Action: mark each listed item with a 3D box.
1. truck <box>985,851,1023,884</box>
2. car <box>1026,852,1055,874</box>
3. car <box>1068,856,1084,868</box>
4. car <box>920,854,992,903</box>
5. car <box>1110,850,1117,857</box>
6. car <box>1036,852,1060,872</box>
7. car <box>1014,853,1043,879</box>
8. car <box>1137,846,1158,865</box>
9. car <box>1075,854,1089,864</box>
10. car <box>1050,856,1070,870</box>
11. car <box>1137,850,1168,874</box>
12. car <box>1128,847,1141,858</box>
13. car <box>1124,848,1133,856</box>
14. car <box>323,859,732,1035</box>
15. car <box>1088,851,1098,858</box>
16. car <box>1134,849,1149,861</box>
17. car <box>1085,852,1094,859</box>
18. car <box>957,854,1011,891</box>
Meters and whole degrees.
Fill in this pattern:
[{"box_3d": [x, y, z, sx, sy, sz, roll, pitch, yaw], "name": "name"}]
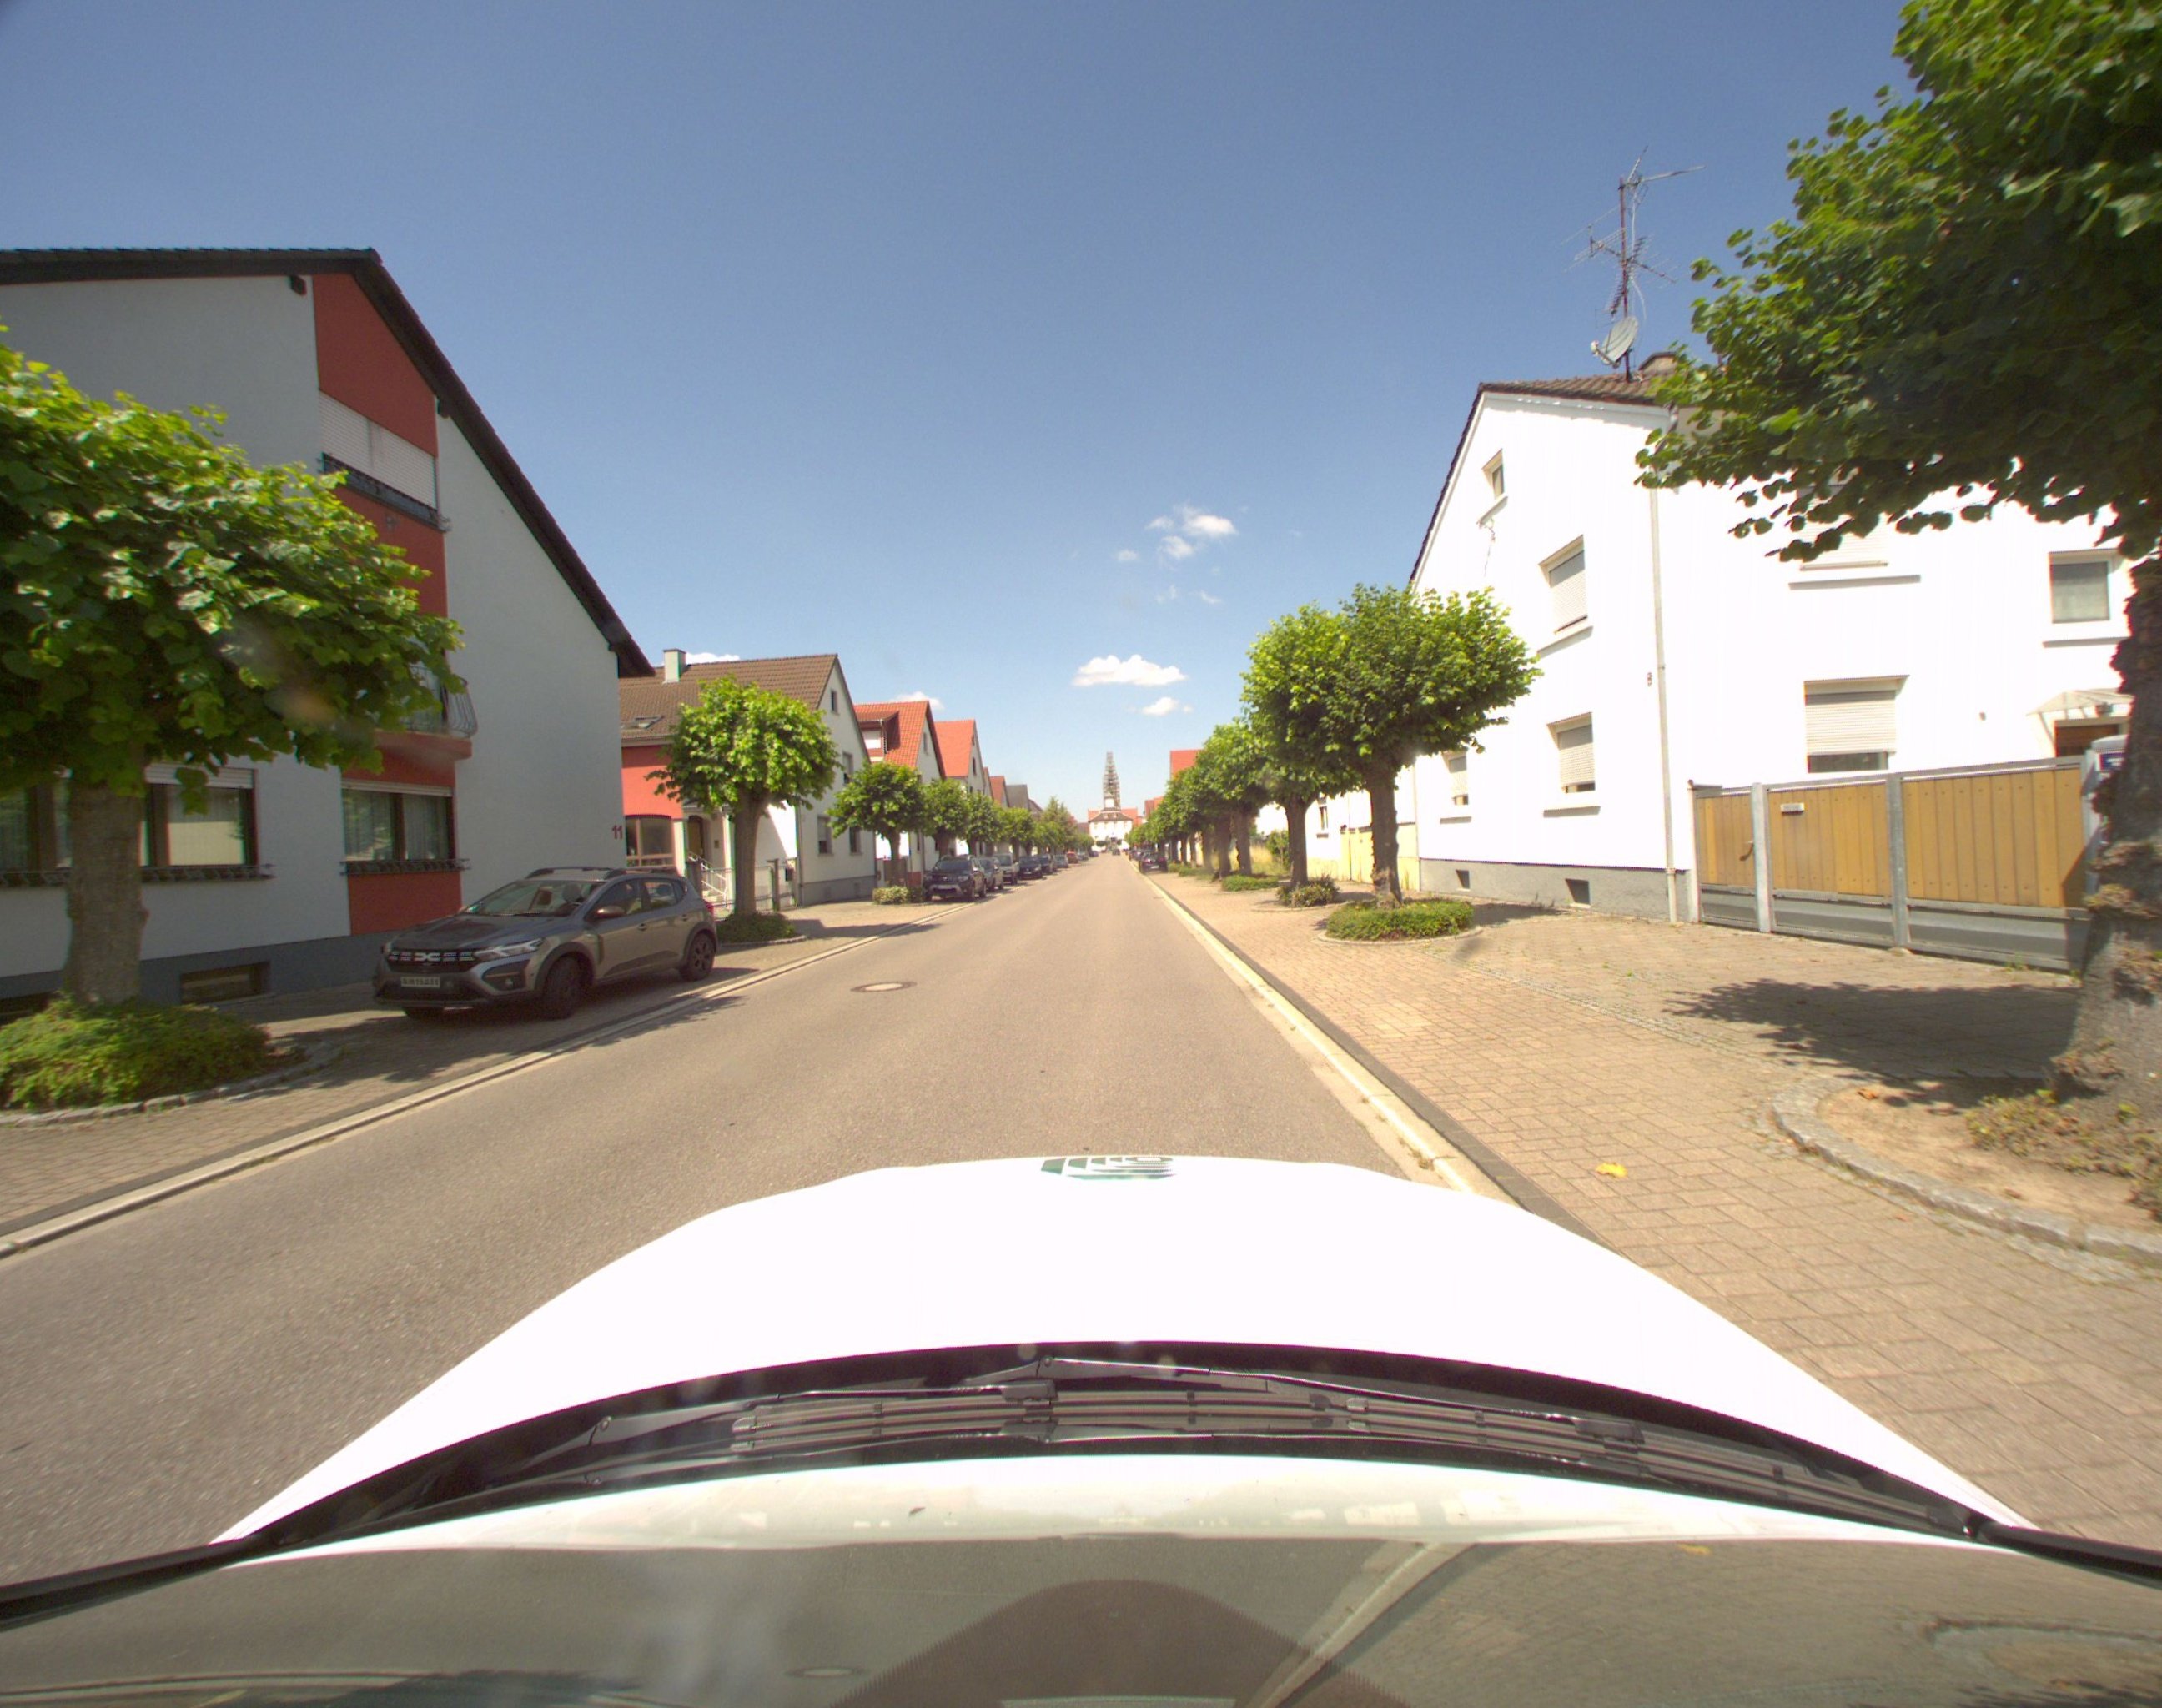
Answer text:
[{"box_3d": [-4.329, 0.742, 46.347, 1.570, 1.765, 4.195, 0, 0, 2], "name": "truck"}, {"box_3d": [-3.150, 0.679, 63.630, 1.845, 1.635, 4.059, -1, 0, 2], "name": "car"}, {"box_3d": [-0.729, 1.096, 117.418, 1.985, 1.611, 4.693, -1, 0, 3], "name": "car"}, {"box_3d": [-4.577, 0.866, 30.475, 1.845, 1.636, 4.302, 0, 1, 2], "name": "car"}, {"box_3d": [7.606, -0.198, 190.235, 1.723, 1.547, 3.457, -1, 0, 2], "name": "car"}, {"box_3d": [-2.947, 0.682, 72.974, 1.988, 1.652, 4.365, -1, 0, -1], "name": "car"}, {"box_3d": [-3.500, 0.782, 54.798, 1.781, 1.634, 3.995, -1, 0, -3], "name": "car"}, {"box_3d": [6.279, 0.106, 76.518, 1.815, 1.586, 4.064, -4, 0, 6], "name": "car"}, {"box_3d": [0.229, 0.886, 139.067, 1.985, 1.611, 4.694, -1, 1, 3], "name": "car"}, {"box_3d": [-2.181, 0.965, 87.391, 1.833, 1.396, 4.408, -2, 0, 2], "name": "car"}, {"box_3d": [4.809, 0.519, 55.005, 1.817, 1.432, 4.059, -5, 0, 2], "name": "car"}, {"box_3d": [8.206, -0.213, 124.596, 1.830, 1.555, 4.316, -4, 0, 2], "name": "car"}, {"box_3d": [10.874, -0.494, 187.336, 1.830, 1.555, 4.317, -4, 0, 3], "name": "car"}, {"box_3d": [-6.119, 0.893, 9.748, 1.844, 1.613, 4.140, 0, 0, 4], "name": "car"}, {"box_3d": [2.753, 0.072, 187.681, 1.985, 1.611, 3.858, -1, 0, 3], "name": "car"}, {"box_3d": [8.654, 0.172, 116.865, 1.831, 1.607, 4.001, -2, 0, 1], "name": "car"}, {"box_3d": [1.997, 0.359, 181.957, 1.750, 1.555, 4.023, -3, 0, 3], "name": "car"}, {"box_3d": [-4.514, 0.834, 38.400, 1.845, 1.613, 4.373, 0, 0, 2], "name": "car"}]
